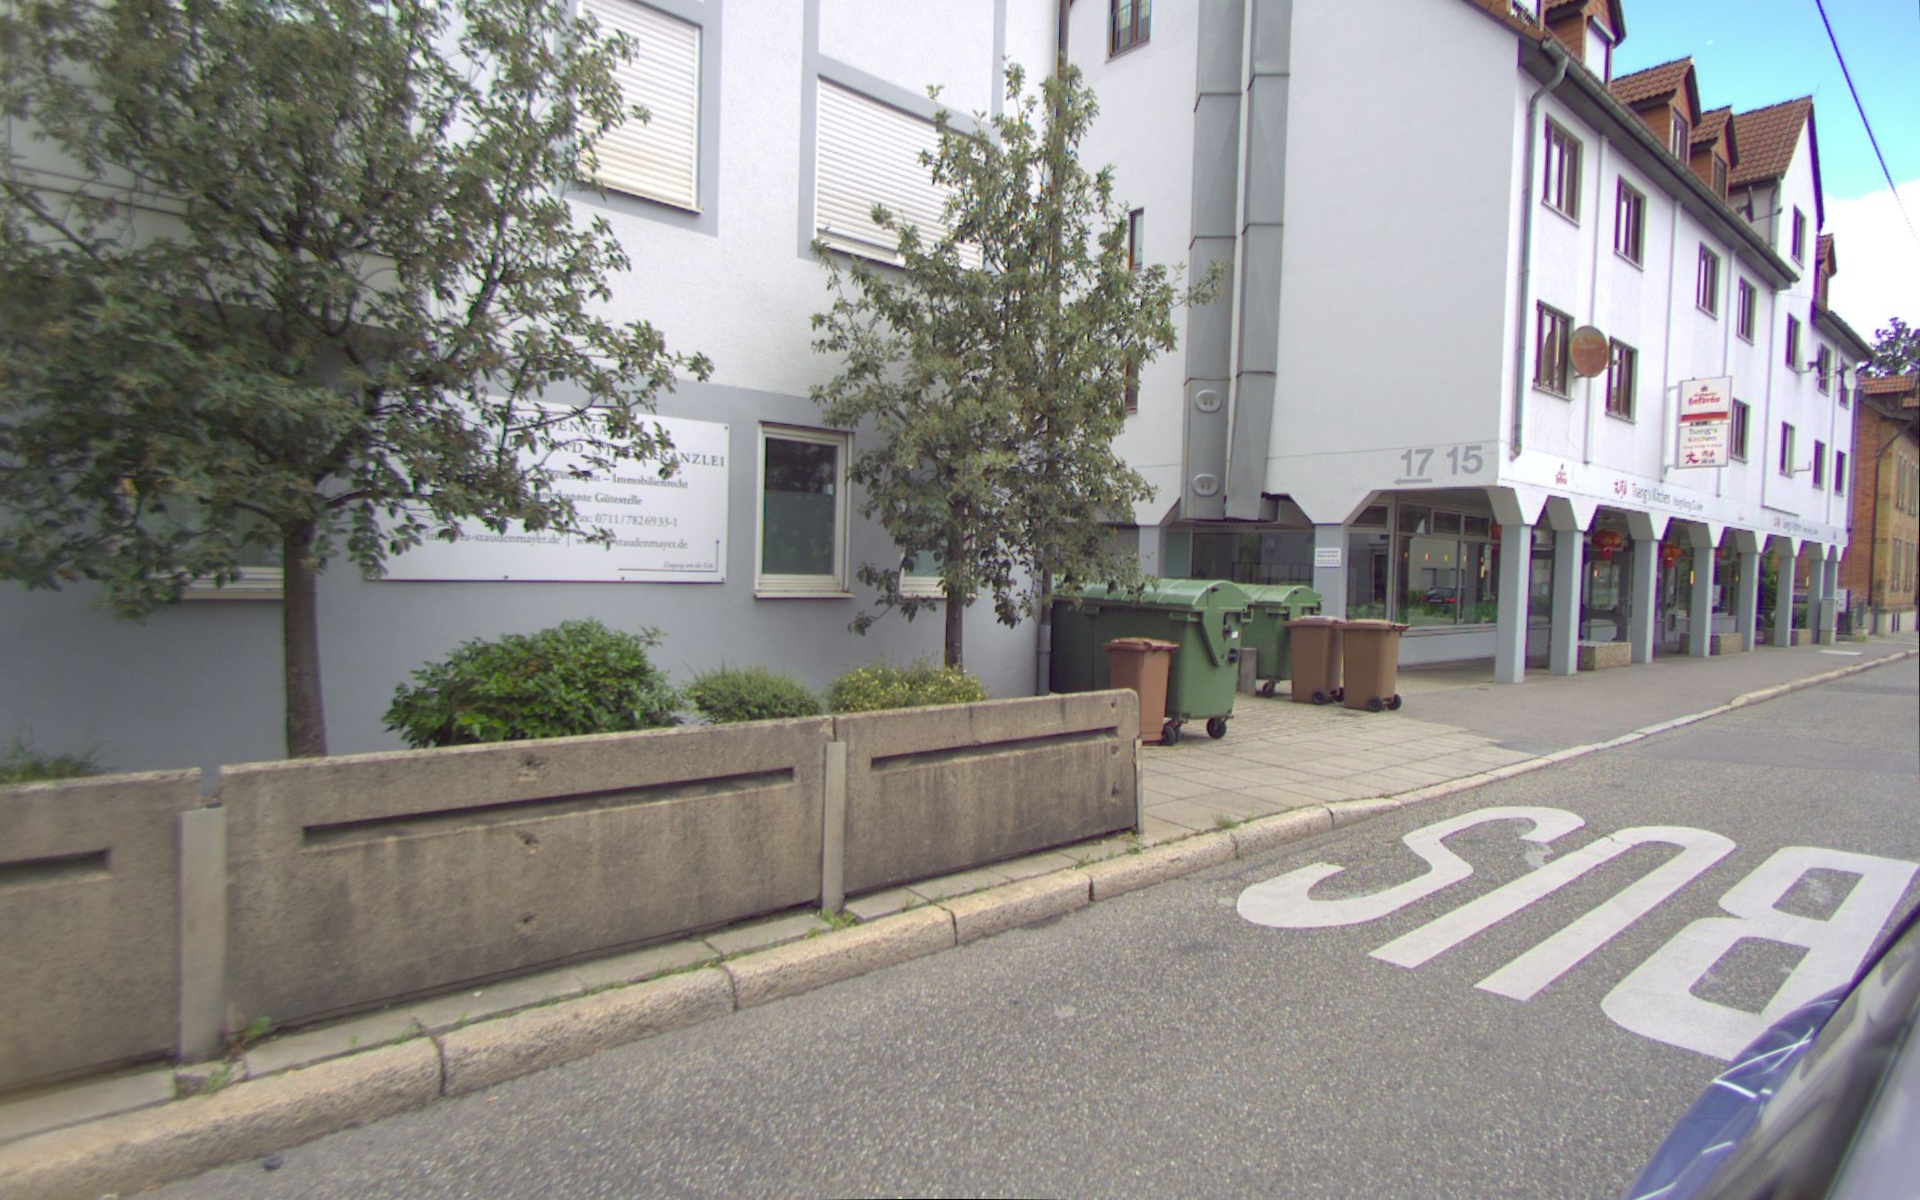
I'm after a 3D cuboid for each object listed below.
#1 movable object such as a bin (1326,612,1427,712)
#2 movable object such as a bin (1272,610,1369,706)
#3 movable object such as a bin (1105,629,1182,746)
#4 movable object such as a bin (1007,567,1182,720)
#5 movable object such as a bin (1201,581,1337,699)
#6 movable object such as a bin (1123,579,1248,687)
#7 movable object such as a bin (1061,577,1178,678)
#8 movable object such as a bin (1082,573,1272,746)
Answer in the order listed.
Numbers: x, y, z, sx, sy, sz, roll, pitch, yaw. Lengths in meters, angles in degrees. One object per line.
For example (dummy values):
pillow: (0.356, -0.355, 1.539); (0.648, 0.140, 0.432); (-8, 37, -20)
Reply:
movable object such as a bin: (4.892, 0.699, 11.893); (0.953, 1.080, 0.685); (0, 2, -37)
movable object such as a bin: (4.440, 0.690, 12.469); (0.953, 1.092, 0.700); (0, 2, -37)
movable object such as a bin: (1.562, 0.728, 8.626); (0.457, 0.932, 0.431); (0, 2, -41)
movable object such as a bin: (1.410, 0.404, 10.646); (1.284, 1.452, 1.270); (0, 2, -41)
movable object such as a bin: (4.087, 0.485, 13.421); (1.236, 1.435, 1.213); (0, 2, -37)
movable object such as a bin: (3.219, 0.433, 14.475); (1.236, 1.435, 1.213); (0, 2, -37)
movable object such as a bin: (2.427, 0.388, 15.456); (1.236, 1.435, 1.213); (0, 2, -37)
movable object such as a bin: (1.994, 0.488, 9.355); (1.142, 1.435, 1.270); (0, 2, -41)
